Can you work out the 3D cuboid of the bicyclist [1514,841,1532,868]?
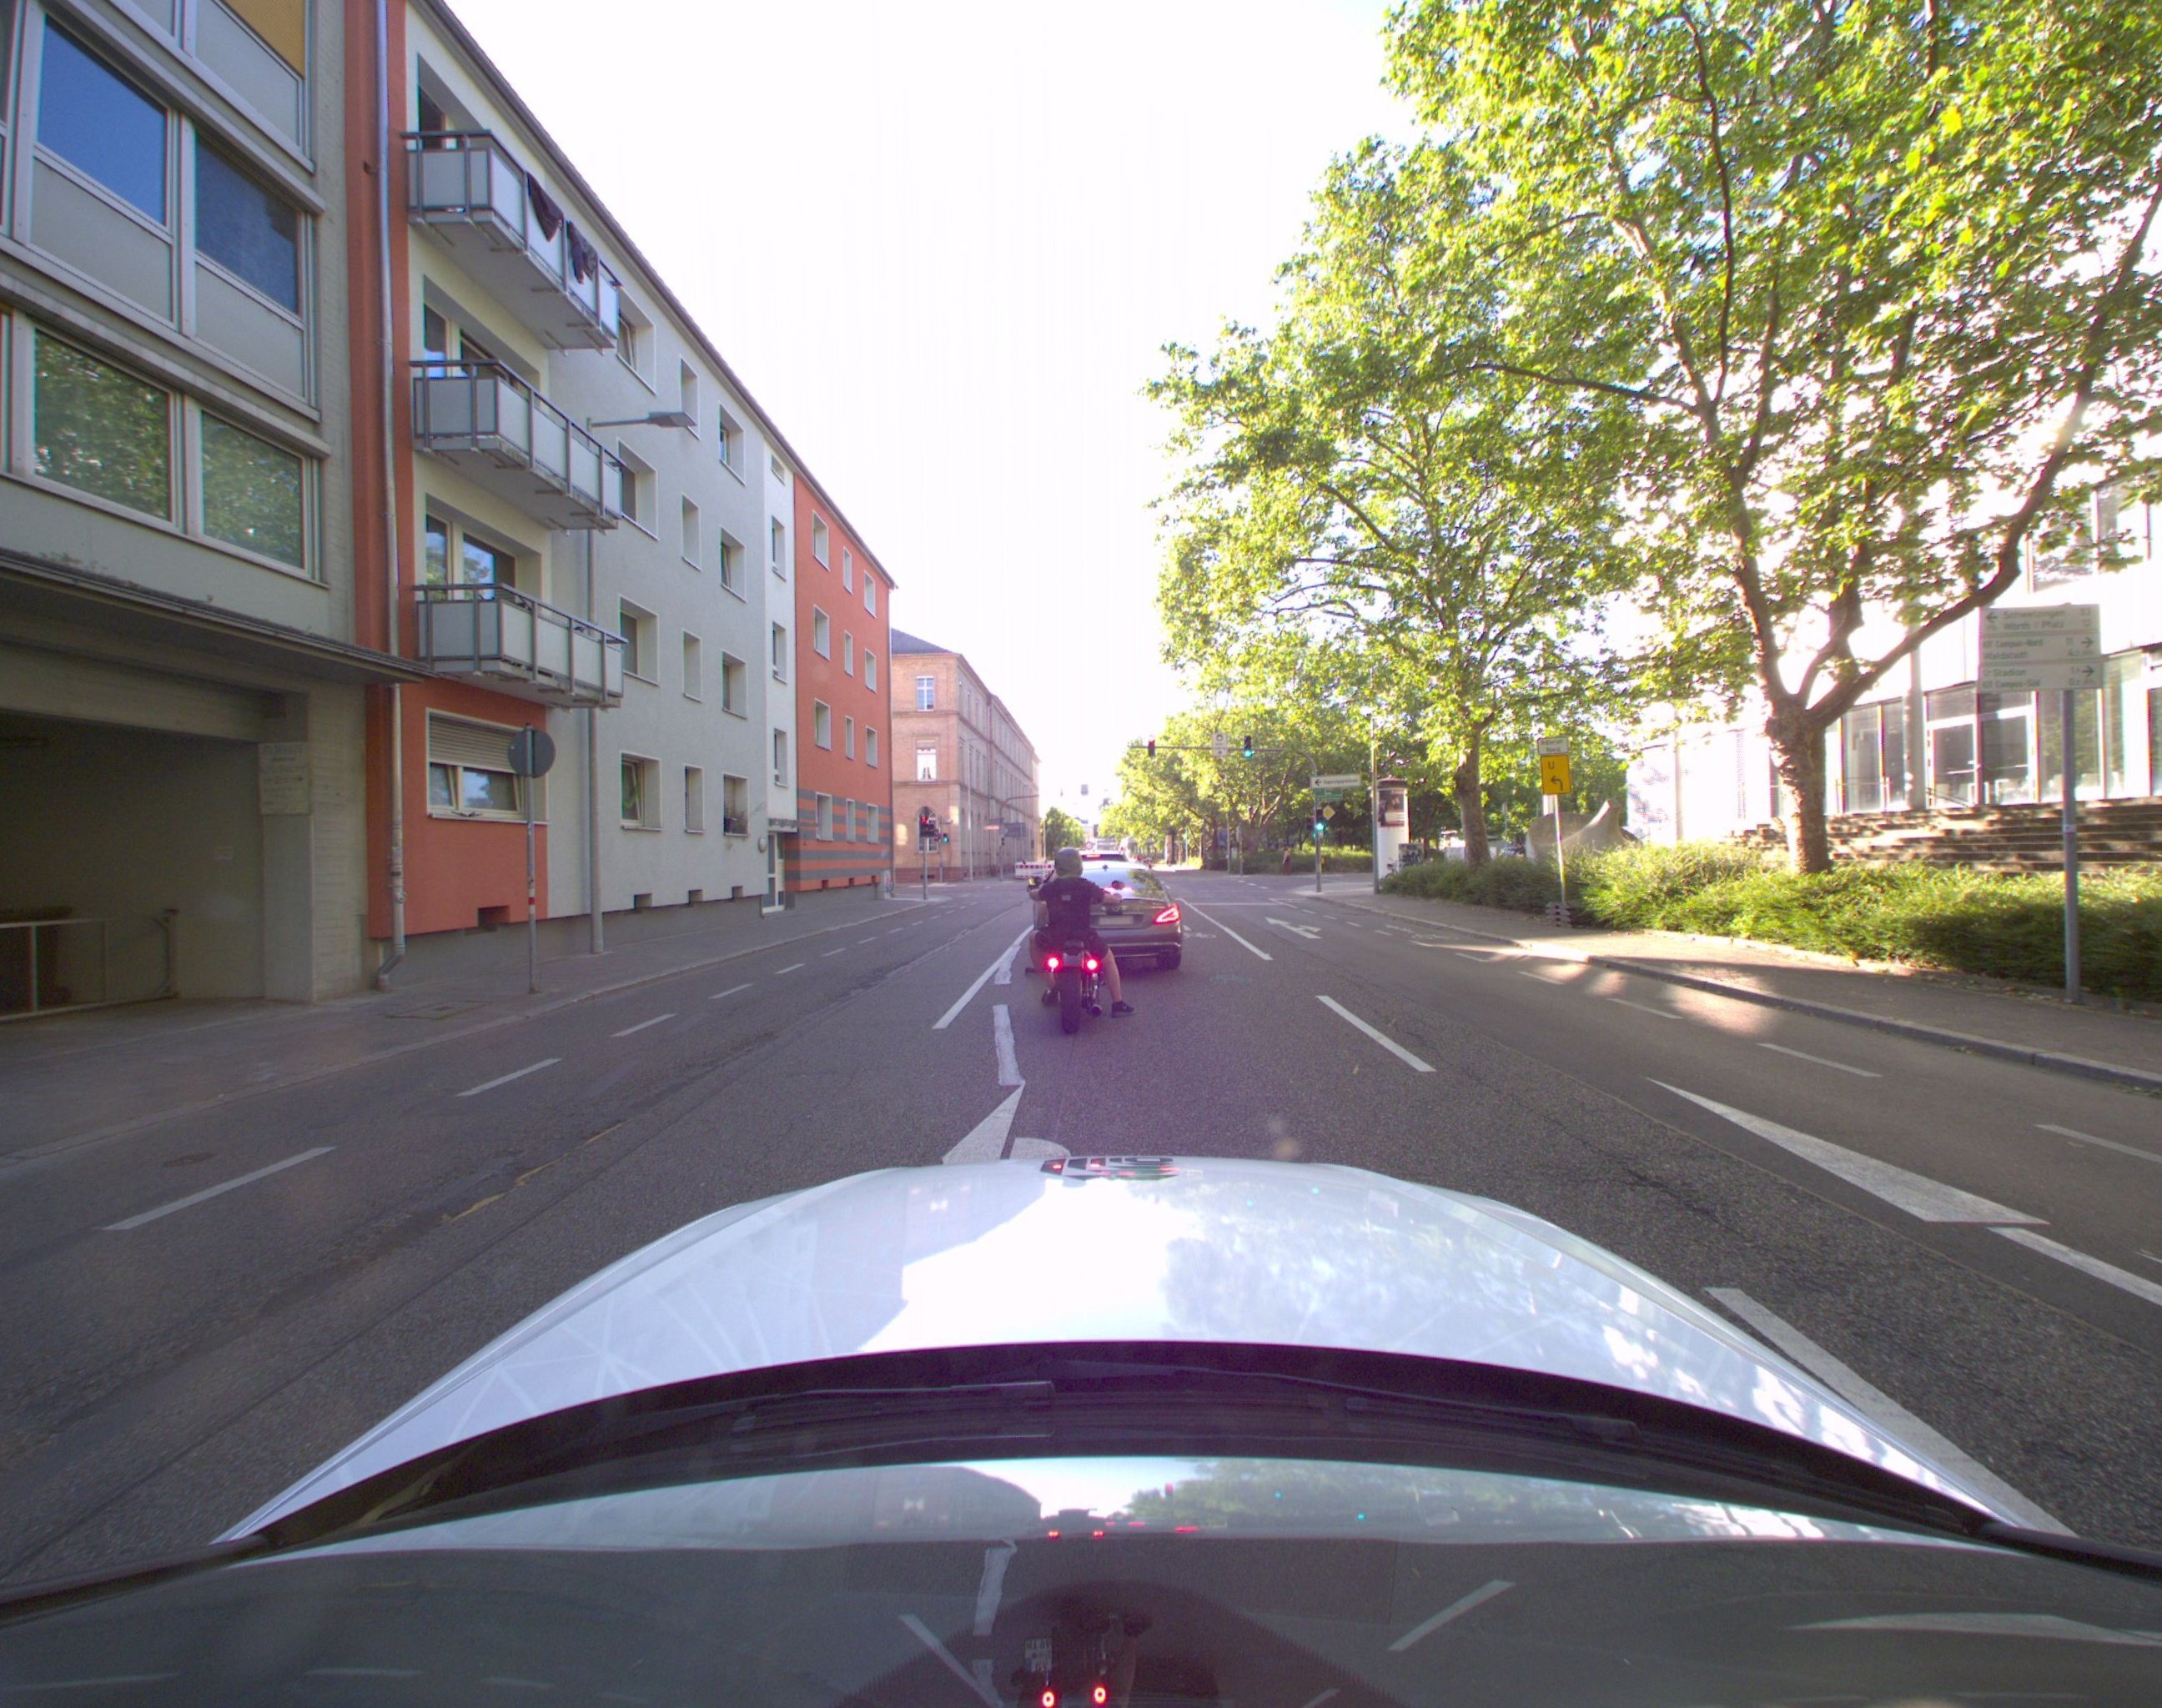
[{"bbox_3d":[26.110,0.058,48.115,0.726,1.582,0.598,0,-1,7],"label":"bicyclist"}]

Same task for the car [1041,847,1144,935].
[{"bbox_3d":[0.284,0.725,17.665,1.986,1.665,4.001,0,-1,2],"label":"car"}]

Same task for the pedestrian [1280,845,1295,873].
[{"bbox_3d":[13.145,0.305,51.818,0.671,1.772,0.621,-1,-1,40],"label":"pedestrian"}]

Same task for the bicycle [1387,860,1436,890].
[{"bbox_3d":[11.074,0.710,27.316,1.475,0.980,0.300,0,-1,7],"label":"bicycle"}]

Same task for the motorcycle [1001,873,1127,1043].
[{"bbox_3d":[-0.097,0.858,7.683,0.977,1.275,2.408,-1,0,2],"label":"motorcycle"}]

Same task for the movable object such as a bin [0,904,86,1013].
[{"bbox_3d":[-11.294,1.093,8.640,0.639,1.065,0.675,-1,0,1],"label":"movable object such as a bin"}]

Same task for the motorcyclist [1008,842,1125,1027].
[{"bbox_3d":[-0.106,0.697,7.654,0.977,1.578,1.249,-1,0,1],"label":"motorcyclist"}]

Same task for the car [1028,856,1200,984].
[{"bbox_3d":[0.258,0.773,11.738,1.867,1.444,4.421,-1,0,-6],"label":"car"}]

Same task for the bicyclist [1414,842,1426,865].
[{"bbox_3d":[20.144,-0.032,48.349,0.520,1.347,0.544,0,-1,5],"label":"bicyclist"}]

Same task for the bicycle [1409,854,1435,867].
[{"bbox_3d":[20.242,0.381,48.345,1.362,0.800,0.513,0,-1,4],"label":"bicycle"}]
